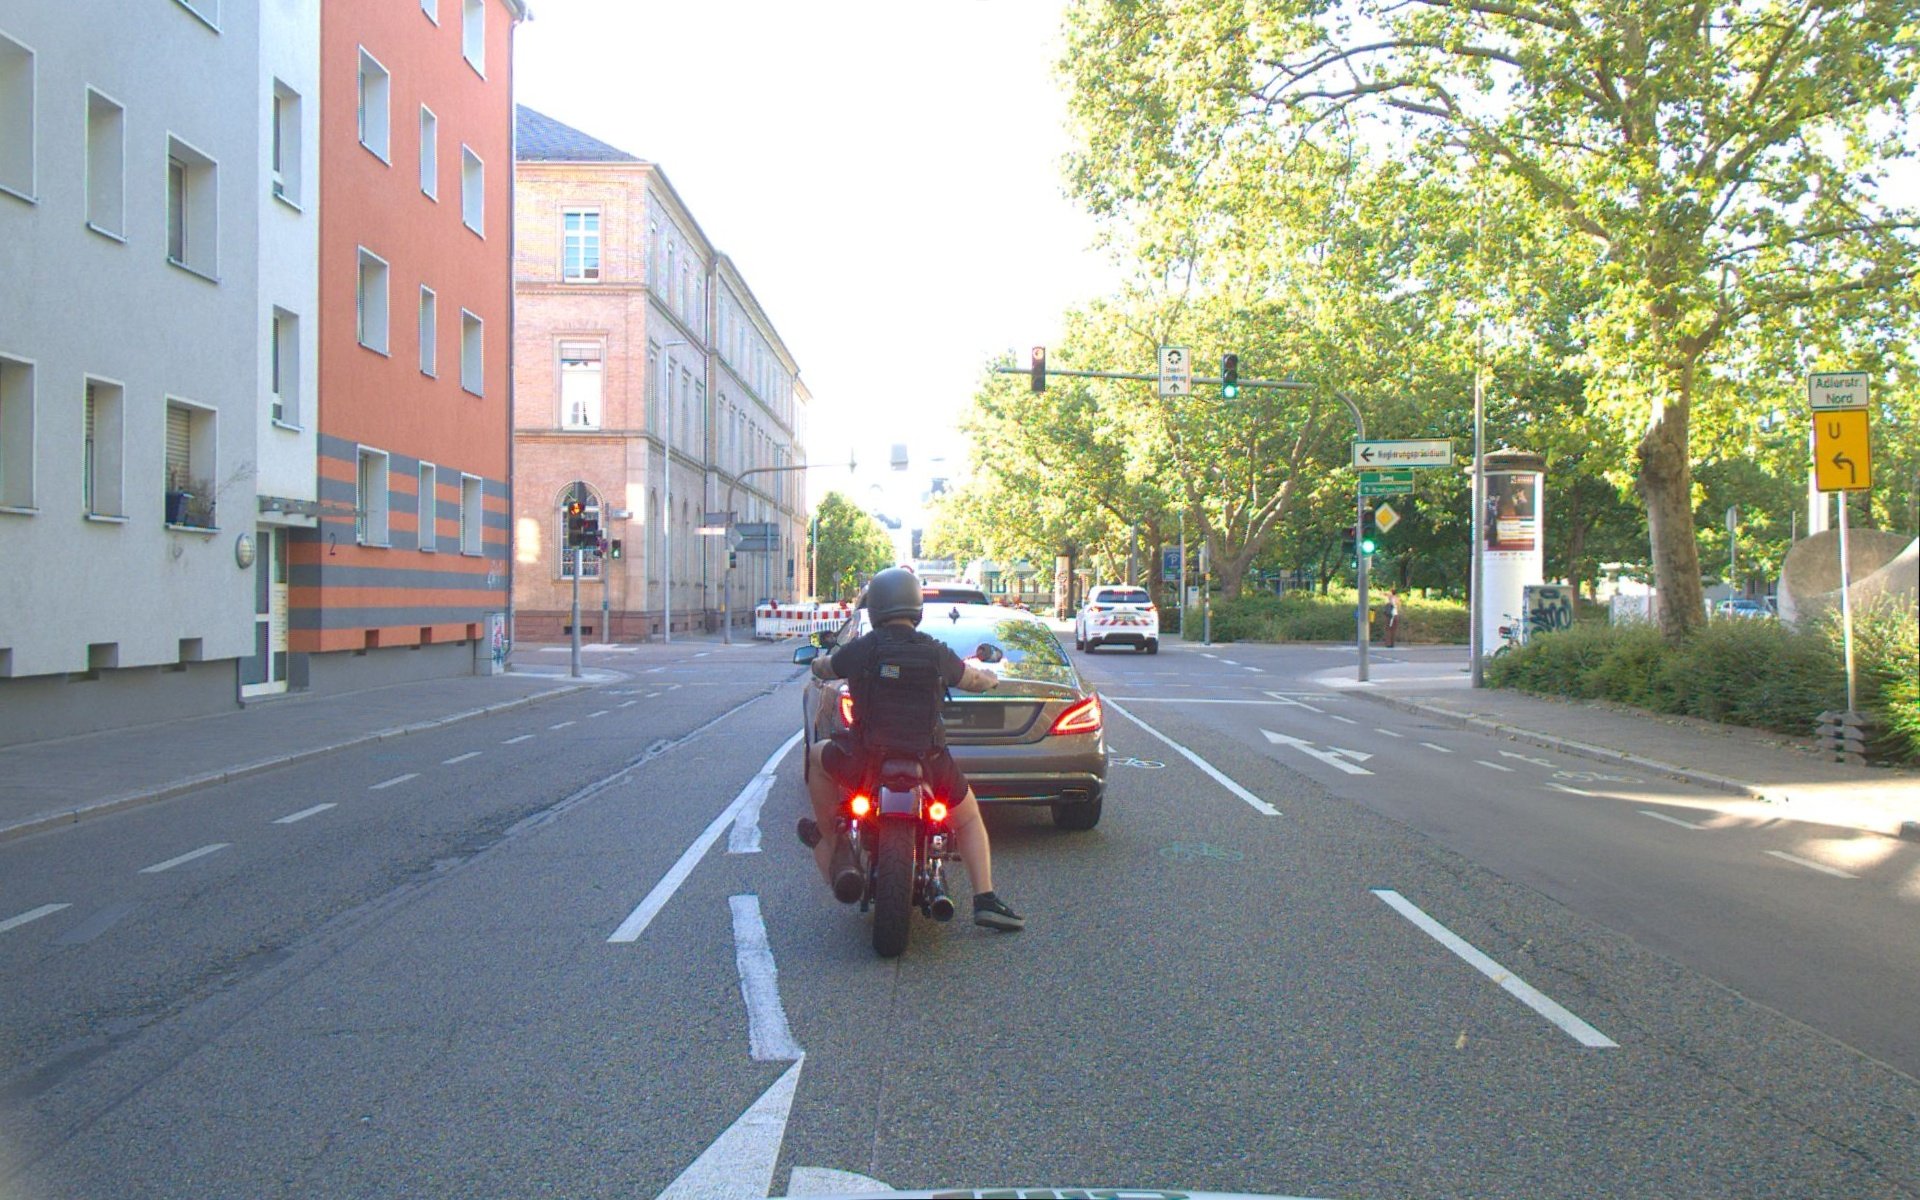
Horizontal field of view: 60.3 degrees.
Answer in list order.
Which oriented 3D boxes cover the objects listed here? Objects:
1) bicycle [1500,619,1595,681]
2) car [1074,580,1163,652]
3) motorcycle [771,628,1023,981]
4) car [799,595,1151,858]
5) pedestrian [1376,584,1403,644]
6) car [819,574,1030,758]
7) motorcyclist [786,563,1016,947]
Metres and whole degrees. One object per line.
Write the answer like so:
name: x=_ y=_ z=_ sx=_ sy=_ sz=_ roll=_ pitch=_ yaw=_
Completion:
bicycle: x=9.789 y=0.834 z=27.583 sx=1.452 sy=0.997 sz=0.299 roll=1 pitch=-1 yaw=5
car: x=4.084 y=0.385 z=43.201 sx=1.903 sy=1.738 sz=4.484 roll=2 pitch=0 yaw=1
motorcycle: x=-0.257 y=0.803 z=7.533 sx=0.961 sy=1.297 sz=2.407 roll=0 pitch=0 yaw=-1
car: x=-0.112 y=0.706 z=11.607 sx=1.834 sy=1.469 sz=4.422 roll=0 pitch=0 yaw=-8
pedestrian: x=13.158 y=0.421 z=50.649 sx=0.664 sy=1.803 sz=0.616 roll=1 pitch=-1 yaw=29
car: x=-0.360 y=0.629 z=17.527 sx=1.953 sy=1.695 sz=3.999 roll=1 pitch=0 yaw=-1
motorcyclist: x=-0.255 y=0.646 z=7.542 sx=0.961 sy=1.606 sz=1.248 roll=0 pitch=0 yaw=-1
